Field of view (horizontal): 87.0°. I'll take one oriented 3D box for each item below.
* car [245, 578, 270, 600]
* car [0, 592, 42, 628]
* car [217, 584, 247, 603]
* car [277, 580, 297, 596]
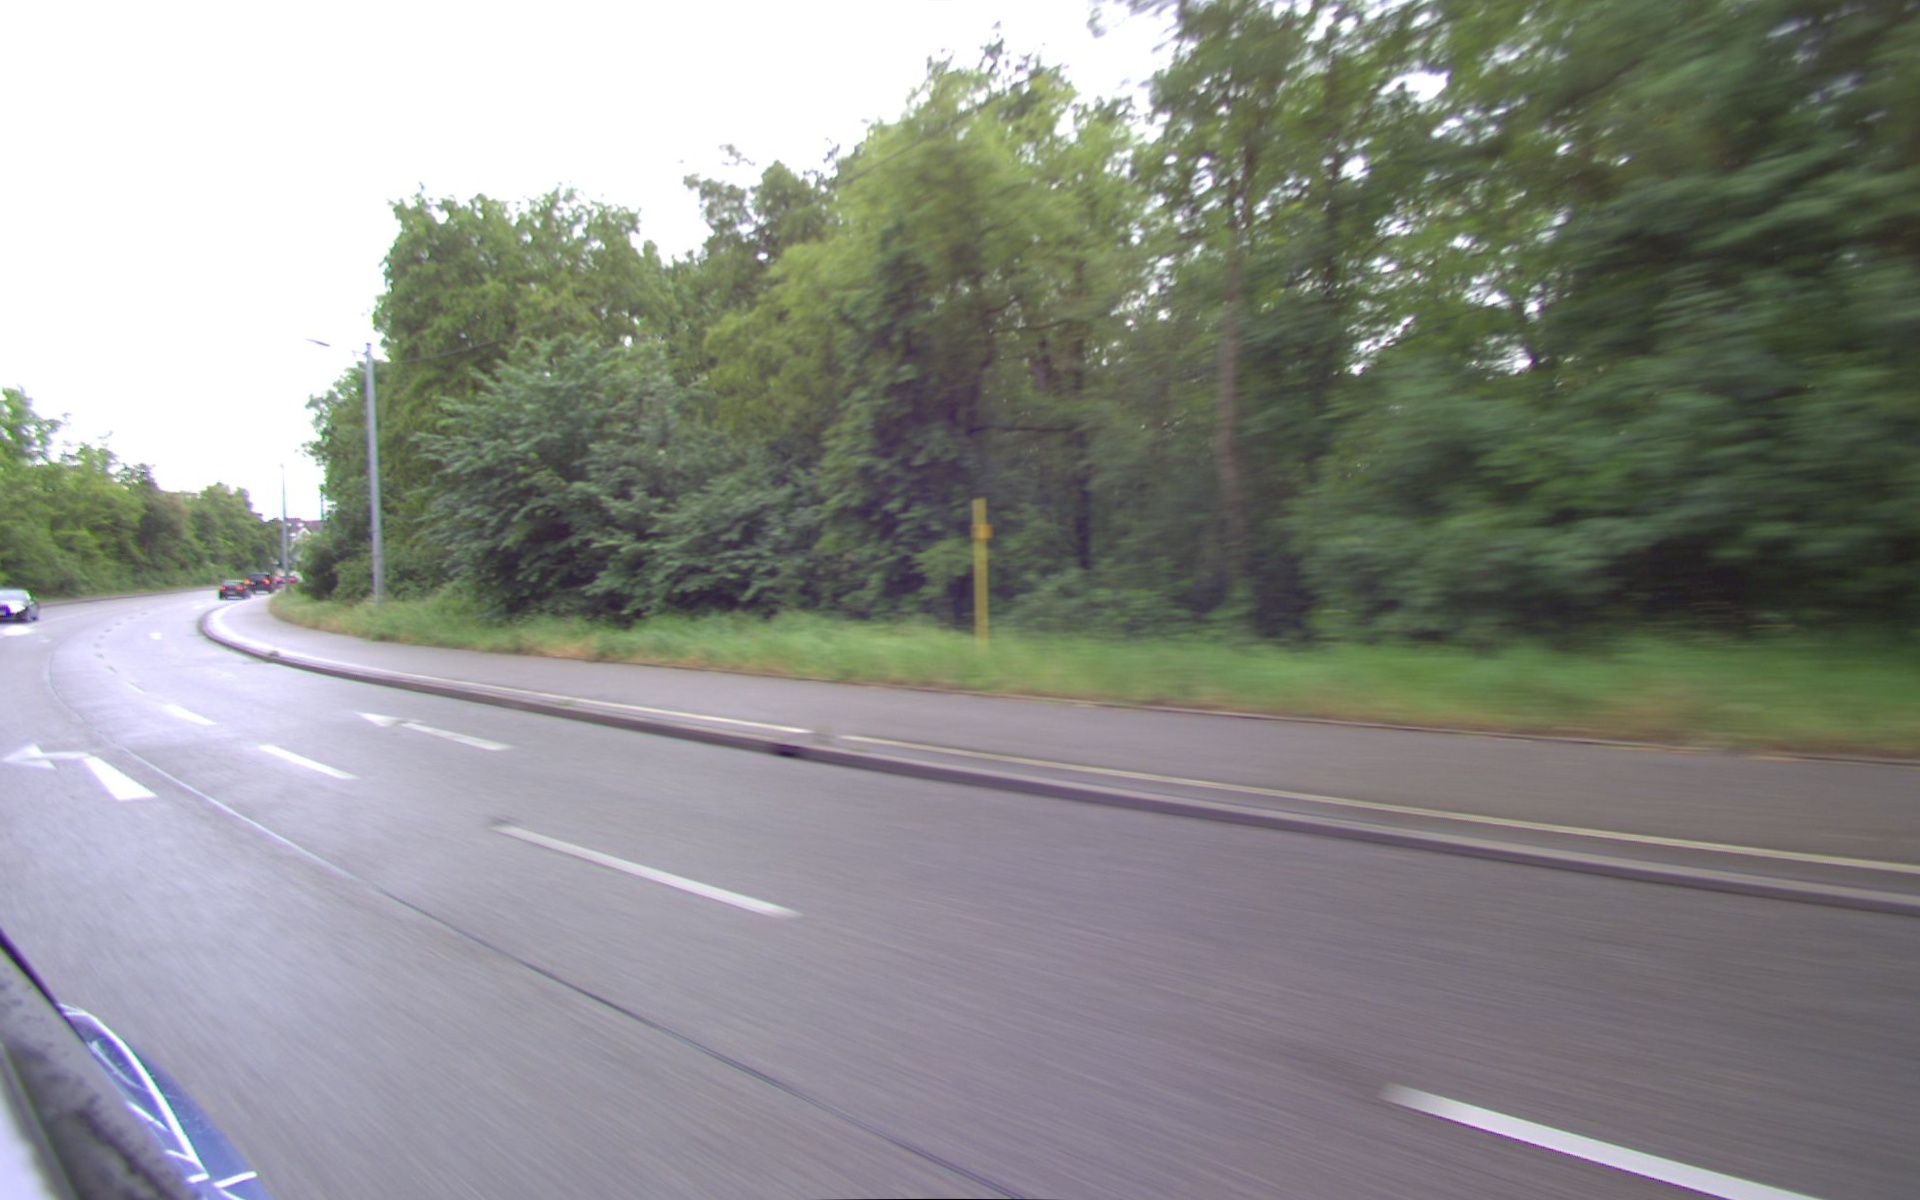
[{"bbox_3d":[-66.050,-1.003,95.175,1.802,1.857,4.723,4,-3,-34],"label":"car"},{"bbox_3d":[-42.909,0.444,45.467,1.802,1.532,4.010,4,-3,-34],"label":"car"},{"bbox_3d":[-58.374,-0.522,81.167,1.802,1.451,4.010,-1,0,-34],"label":"car"},{"bbox_3d":[-75.534,-1.337,113.594,1.802,1.532,4.010,4,-3,-34],"label":"car"}]
